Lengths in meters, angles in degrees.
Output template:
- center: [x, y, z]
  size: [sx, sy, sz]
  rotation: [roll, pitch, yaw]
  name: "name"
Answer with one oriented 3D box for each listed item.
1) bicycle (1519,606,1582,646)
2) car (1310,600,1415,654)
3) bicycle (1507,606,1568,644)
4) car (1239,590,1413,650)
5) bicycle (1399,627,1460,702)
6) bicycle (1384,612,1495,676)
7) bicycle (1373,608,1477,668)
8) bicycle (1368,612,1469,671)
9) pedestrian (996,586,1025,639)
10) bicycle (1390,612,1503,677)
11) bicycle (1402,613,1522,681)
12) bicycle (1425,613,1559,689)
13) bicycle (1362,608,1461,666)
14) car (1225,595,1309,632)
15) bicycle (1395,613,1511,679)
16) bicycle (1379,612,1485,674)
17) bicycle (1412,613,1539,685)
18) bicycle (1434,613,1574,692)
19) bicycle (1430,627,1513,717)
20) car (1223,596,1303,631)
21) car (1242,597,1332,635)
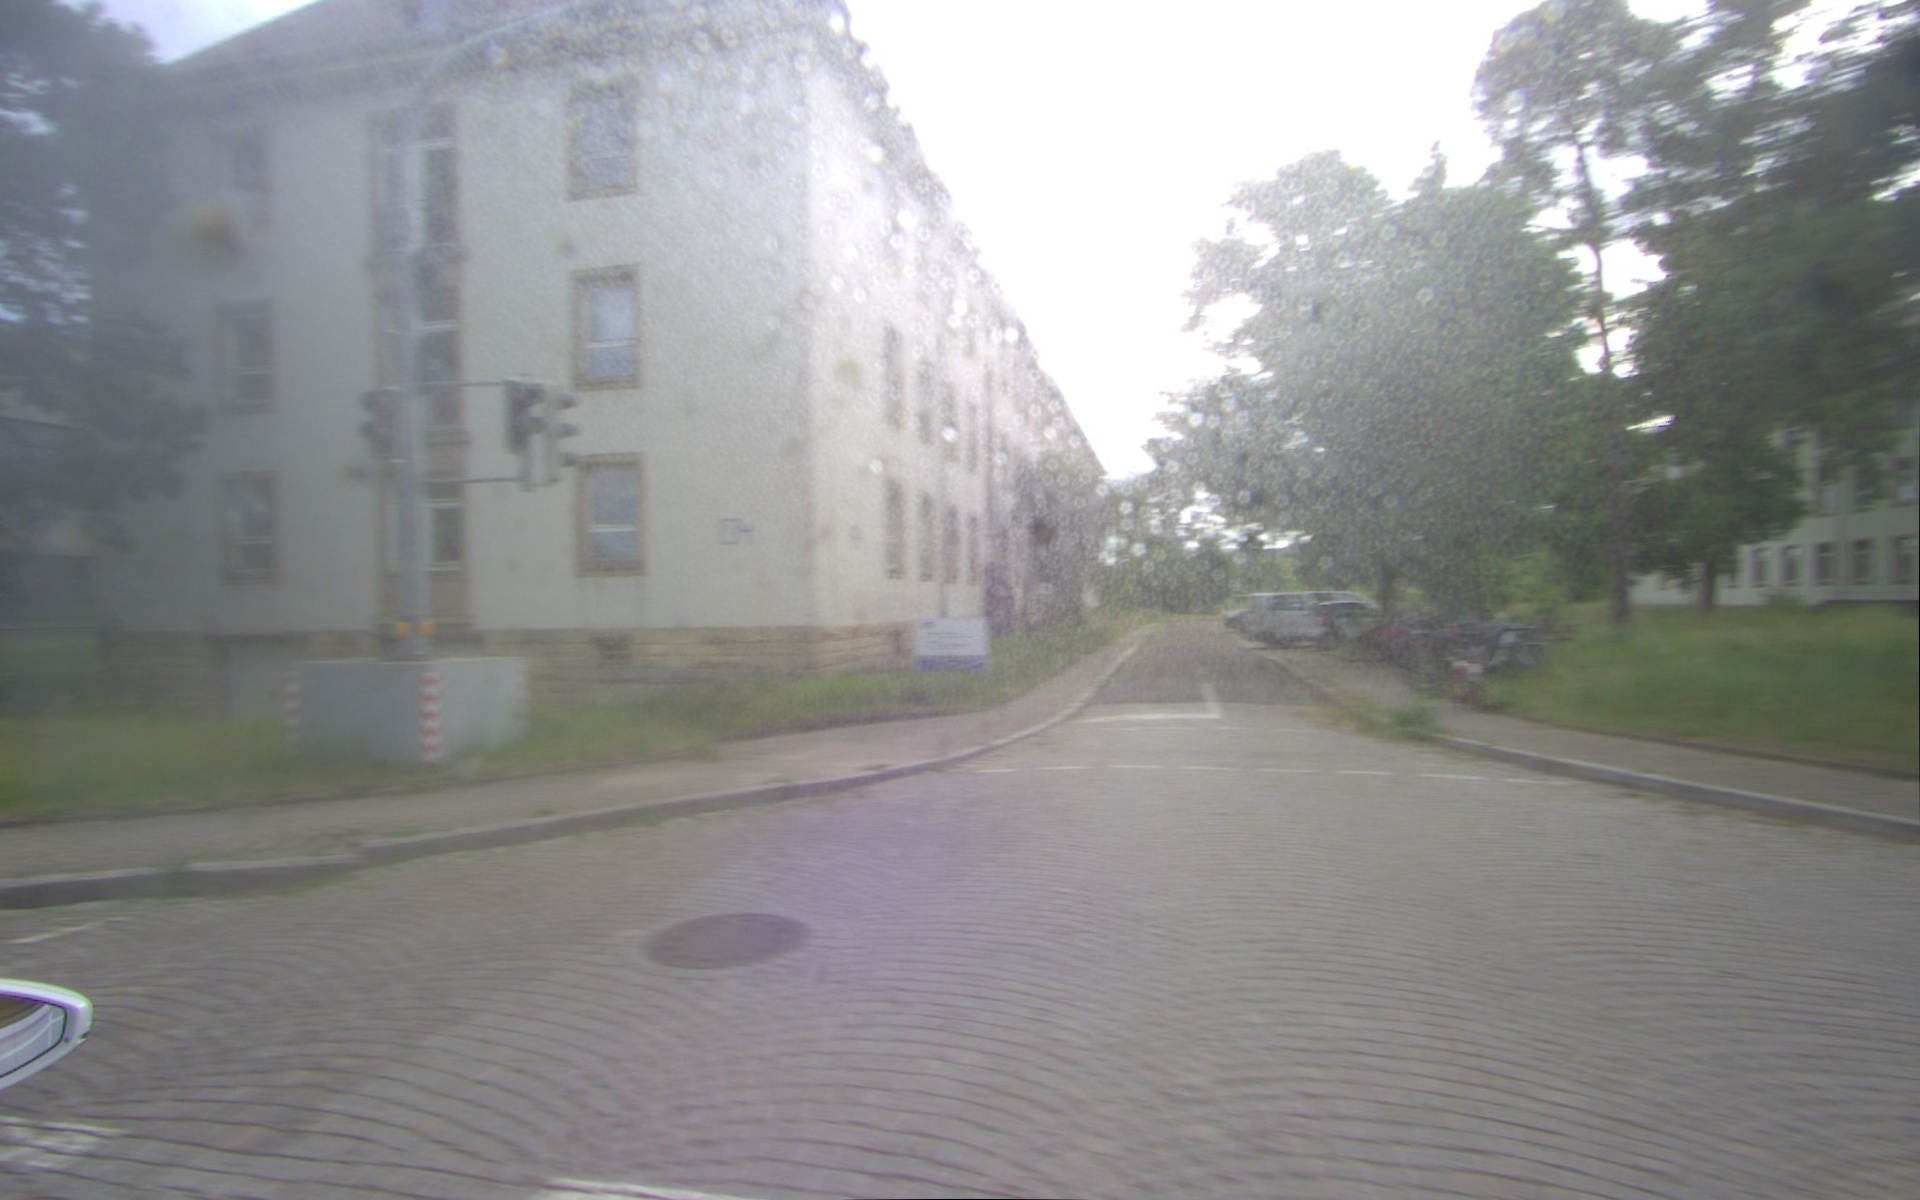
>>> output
- center: [17.065, 0.740, 28.971]
  size: [1.525, 1.139, 0.400]
  rotation: [0, 1, 15]
  name: "bicycle"
- center: [12.462, 0.836, 31.150]
  size: [2.803, 1.579, 1.470]
  rotation: [-1, 1, 13]
  name: "car"
- center: [17.390, 0.749, 30.158]
  size: [1.525, 1.139, 0.400]
  rotation: [0, 1, 15]
  name: "bicycle"
- center: [12.594, 0.679, 34.684]
  size: [5.218, 1.941, 2.150]
  rotation: [-1, 0, -2]
  name: "car"
- center: [7.416, 0.988, 15.871]
  size: [0.613, 1.097, 1.675]
  rotation: [1, 0, 17]
  name: "bicycle"
- center: [9.924, 0.902, 20.788]
  size: [1.951, 1.264, 0.624]
  rotation: [1, 0, 11]
  name: "bicycle"
- center: [10.182, 0.818, 21.977]
  size: [1.951, 1.264, 0.624]
  rotation: [1, 0, 11]
  name: "bicycle"
- center: [10.266, 0.917, 22.465]
  size: [1.951, 1.264, 0.624]
  rotation: [1, 0, 11]
  name: "bicycle"
- center: [1.769, 0.425, 34.991]
  size: [0.825, 1.805, 0.939]
  rotation: [0, 1, 18]
  name: "pedestrian"
- center: [9.894, 0.900, 20.412]
  size: [1.951, 1.264, 0.624]
  rotation: [1, 0, 11]
  name: "bicycle"
- center: [9.637, 0.889, 19.284]
  size: [1.951, 1.264, 0.624]
  rotation: [1, 0, 11]
  name: "bicycle"
- center: [9.286, 0.874, 17.533]
  size: [1.951, 1.264, 0.624]
  rotation: [1, 0, 11]
  name: "bicycle"
- center: [10.400, 0.859, 23.110]
  size: [1.951, 1.264, 0.624]
  rotation: [-2, 0, 11]
  name: "bicycle"
- center: [15.693, 0.711, 51.424]
  size: [3.968, 1.823, 1.680]
  rotation: [-1, 0, 12]
  name: "car"
- center: [9.771, 0.895, 19.902]
  size: [1.951, 1.264, 0.624]
  rotation: [1, 0, 11]
  name: "bicycle"
- center: [10.097, 0.909, 21.471]
  size: [1.951, 1.264, 0.624]
  rotation: [1, 0, 11]
  name: "bicycle"
- center: [9.462, 0.882, 18.442]
  size: [1.951, 1.264, 0.624]
  rotation: [1, 0, 11]
  name: "bicycle"
- center: [9.158, 0.868, 16.917]
  size: [1.951, 1.264, 0.624]
  rotation: [1, 0, 11]
  name: "bicycle"
- center: [7.081, 0.956, 13.944]
  size: [0.613, 1.128, 1.986]
  rotation: [1, 0, 15]
  name: "bicycle"
- center: [16.234, 0.733, 53.883]
  size: [3.968, 1.823, 1.680]
  rotation: [-1, 0, 12]
  name: "car"
- center: [15.683, 0.776, 48.213]
  size: [3.968, 1.741, 1.680]
  rotation: [-1, 0, 12]
  name: "car"
